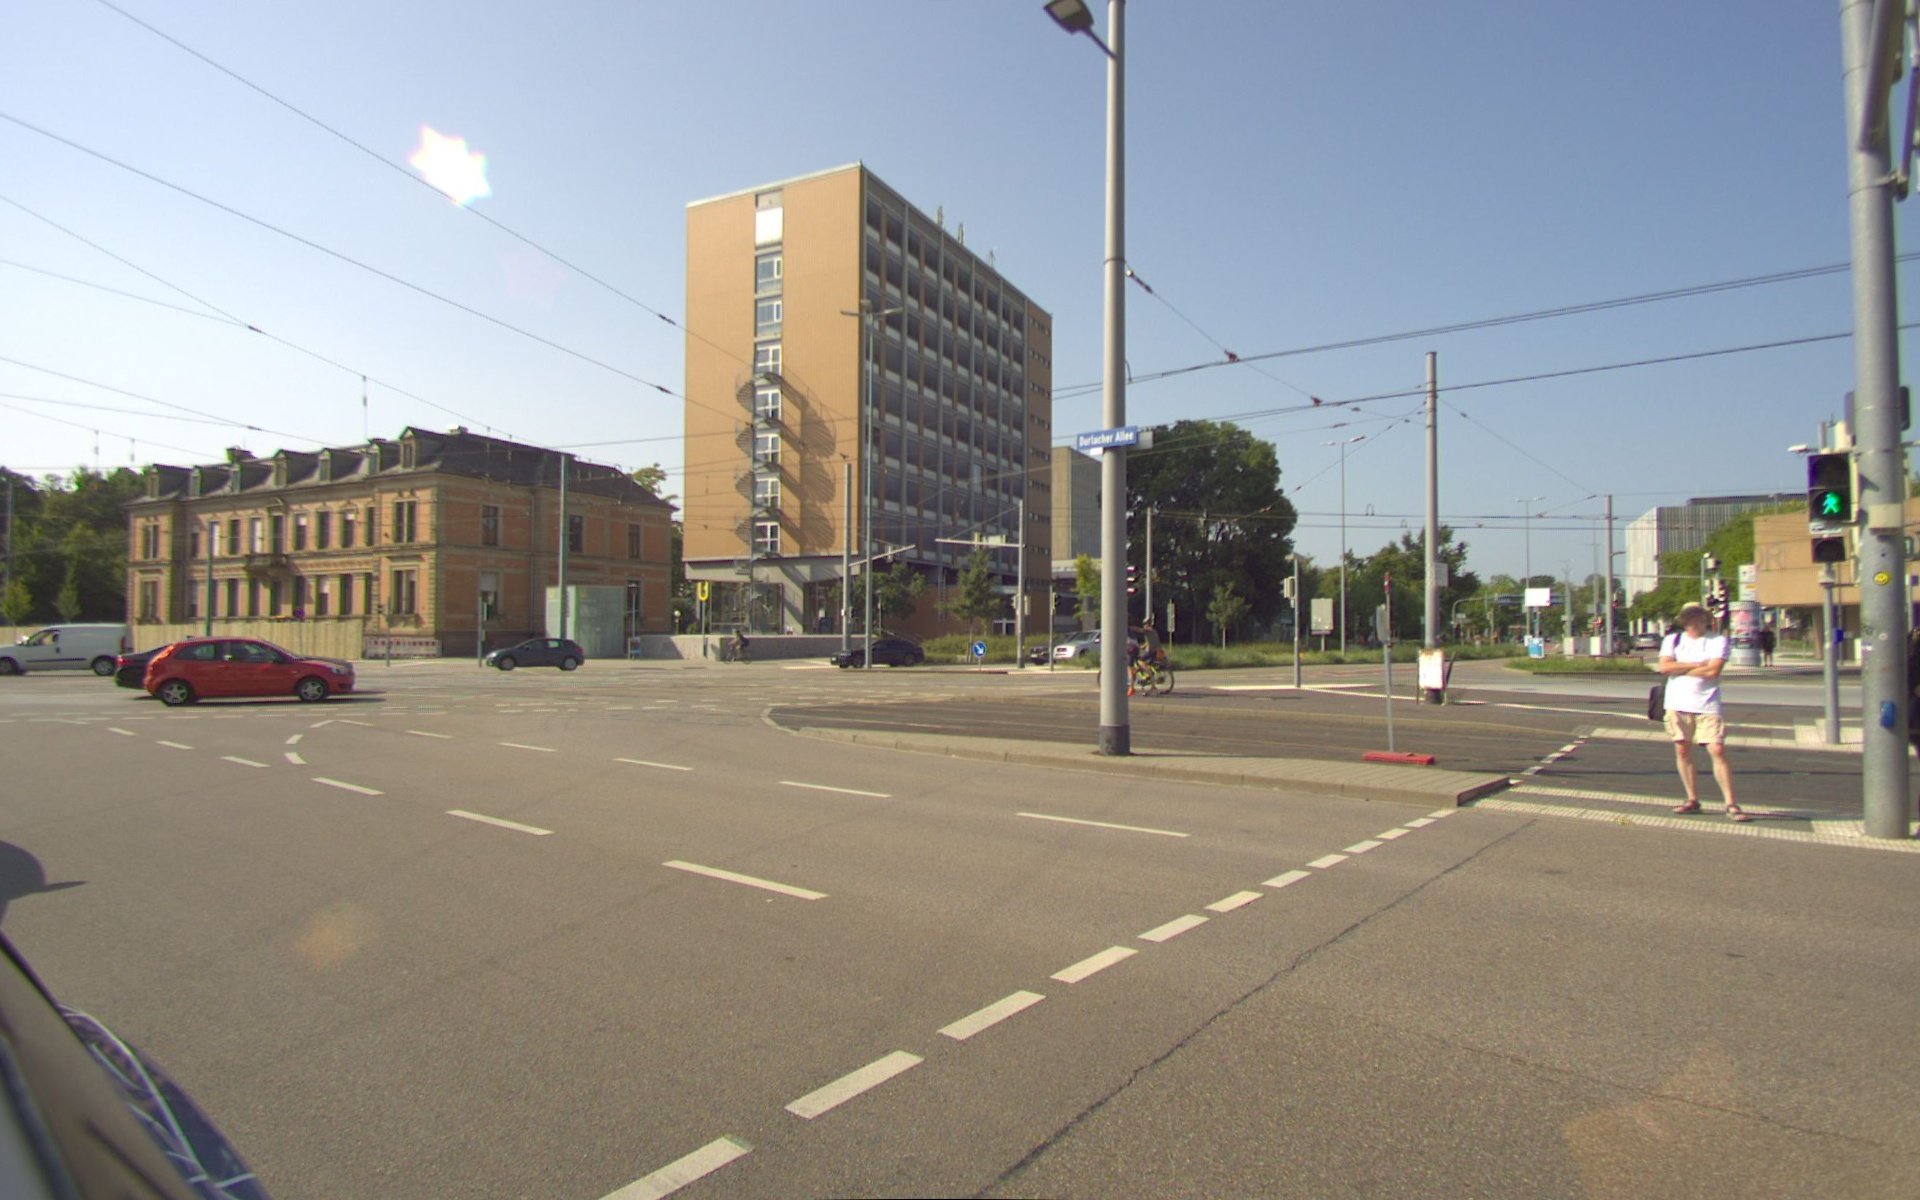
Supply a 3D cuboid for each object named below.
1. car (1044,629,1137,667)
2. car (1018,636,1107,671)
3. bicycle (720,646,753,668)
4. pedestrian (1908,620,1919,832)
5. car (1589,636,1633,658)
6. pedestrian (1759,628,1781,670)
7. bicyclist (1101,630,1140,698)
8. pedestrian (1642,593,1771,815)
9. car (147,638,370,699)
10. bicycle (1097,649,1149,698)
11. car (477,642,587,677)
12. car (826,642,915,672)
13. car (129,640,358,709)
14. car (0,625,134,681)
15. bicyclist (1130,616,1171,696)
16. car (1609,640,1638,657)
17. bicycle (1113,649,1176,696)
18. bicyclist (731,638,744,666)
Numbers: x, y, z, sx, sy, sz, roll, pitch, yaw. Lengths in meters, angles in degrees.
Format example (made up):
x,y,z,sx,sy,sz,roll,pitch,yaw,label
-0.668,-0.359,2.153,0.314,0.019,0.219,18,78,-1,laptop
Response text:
x,y,z,sx,sy,sz,roll,pitch,yaw,label
6.338,2.326,48.968,4.218,1.720,1.957,2,-5,-34,car
5.275,2.757,52.000,4.217,1.720,1.931,1,-5,-33,car
-12.095,3.080,54.750,1.743,1.203,0.402,2,-3,-34,bicycle
7.557,0.973,7.650,0.467,1.610,0.626,-1,-5,38,pedestrian
45.476,3.264,70.673,1.783,1.519,3.941,-2,-3,45,car
35.045,2.113,43.795,0.551,1.782,0.404,0,-2,-4,pedestrian
3.966,1.566,25.044,0.503,1.642,0.809,1,-3,-36,bicyclist
6.468,0.875,8.770,0.822,1.802,0.730,5,-5,-43,pedestrian
-17.510,1.680,25.510,4.275,1.463,1.809,1,-2,-19,car
4.013,1.793,25.037,0.306,1.174,1.502,1,-3,-35,bicycle
-18.683,2.595,44.198,4.216,1.477,1.679,1,-5,-31,car
-4.608,2.950,52.262,4.252,1.477,1.678,1,-5,-32,car
-15.872,1.604,22.700,3.931,1.426,1.809,1,-3,-27,car
-32.370,1.894,36.113,4.216,1.901,1.800,1,-5,-30,car
4.849,1.418,25.806,0.571,1.989,0.809,1,-3,-36,bicyclist
58.210,4.237,88.776,1.494,1.462,3.472,-2,-3,45,car
4.726,1.838,26.004,0.371,1.174,1.863,1,-3,-35,bicycle
-12.046,2.811,54.790,0.540,1.491,0.398,1,-3,-33,bicyclist
